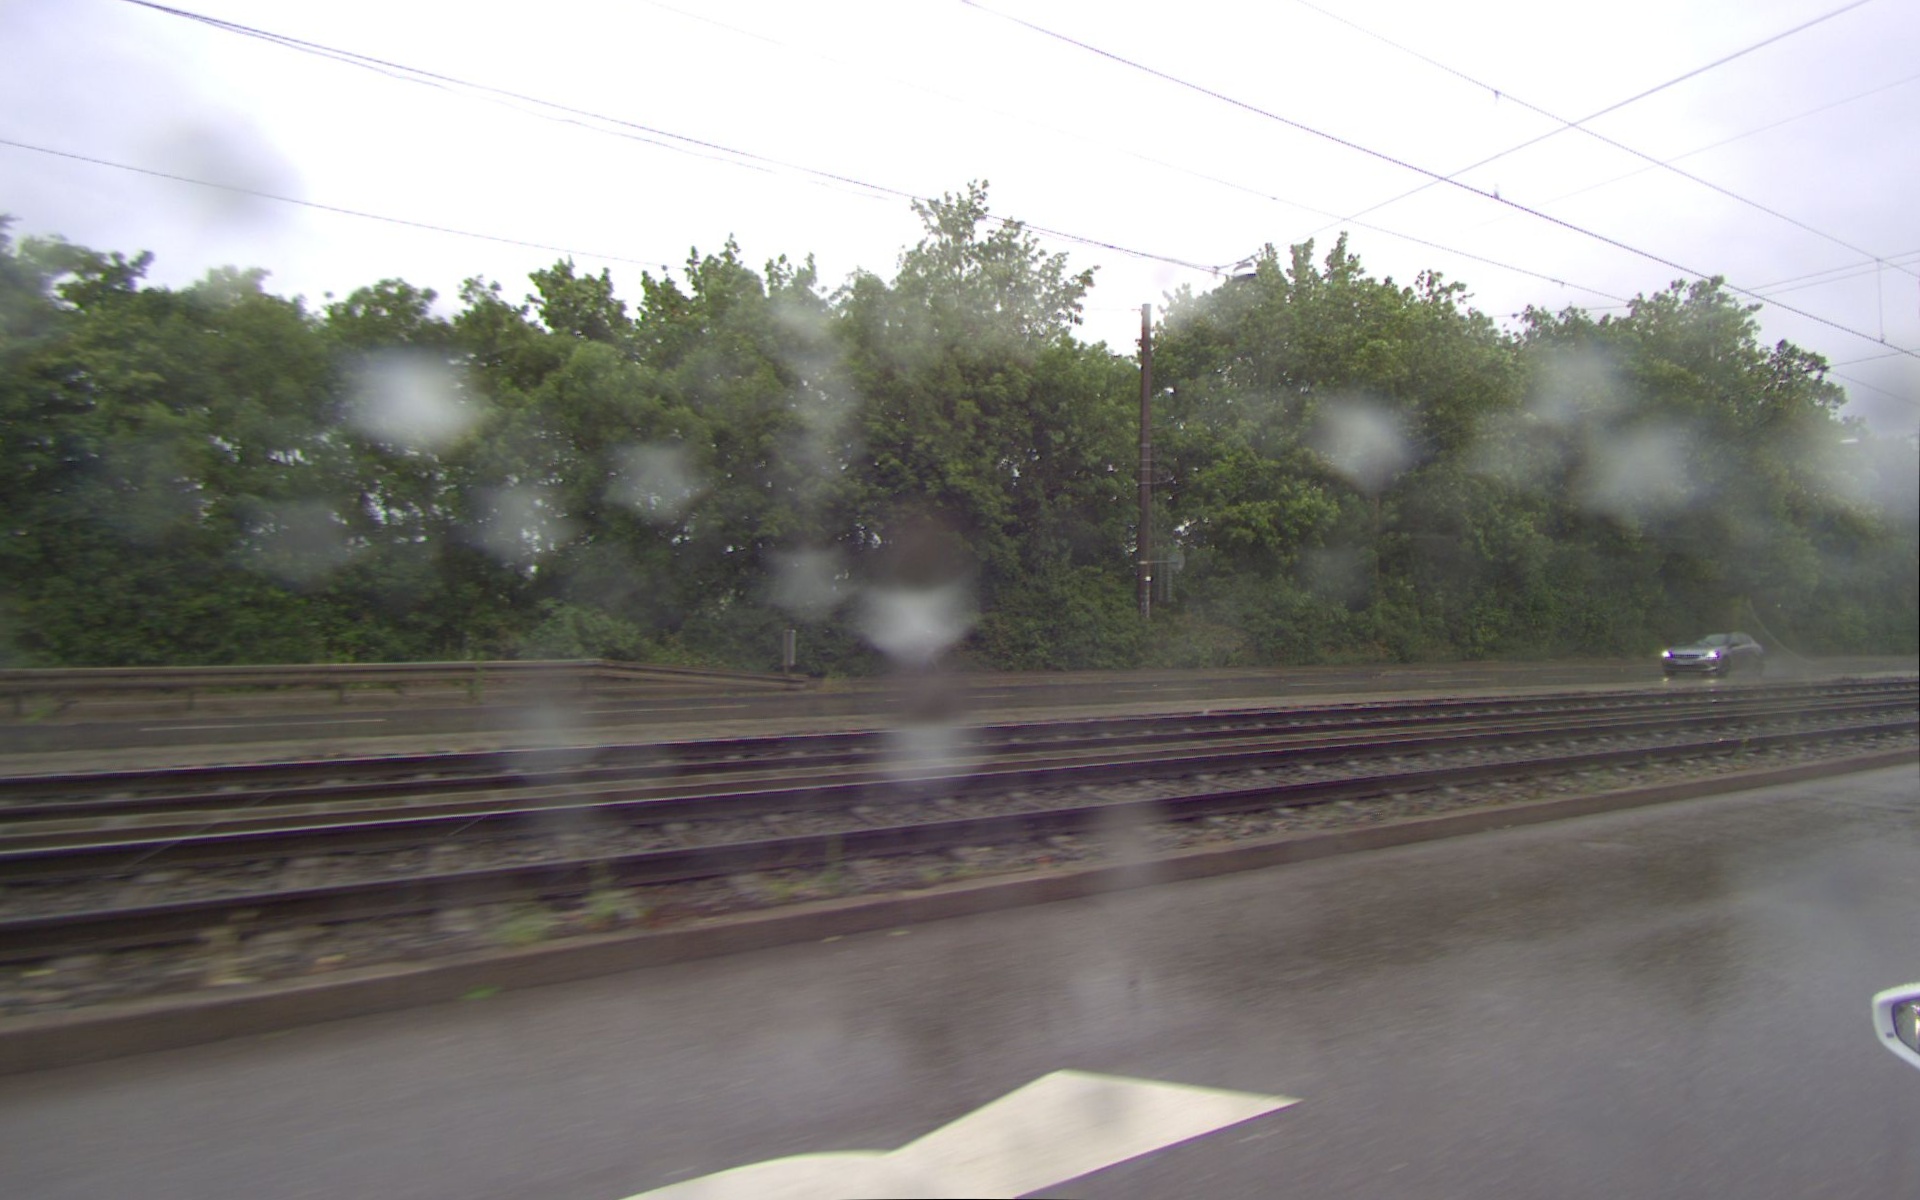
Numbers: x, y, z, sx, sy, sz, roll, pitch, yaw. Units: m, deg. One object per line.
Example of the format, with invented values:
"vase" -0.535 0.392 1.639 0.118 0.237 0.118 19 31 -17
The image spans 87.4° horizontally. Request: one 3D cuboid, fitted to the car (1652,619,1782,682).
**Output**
"car" 25.074 1.630 33.257 3.954 1.807 1.983 1 4 -31
